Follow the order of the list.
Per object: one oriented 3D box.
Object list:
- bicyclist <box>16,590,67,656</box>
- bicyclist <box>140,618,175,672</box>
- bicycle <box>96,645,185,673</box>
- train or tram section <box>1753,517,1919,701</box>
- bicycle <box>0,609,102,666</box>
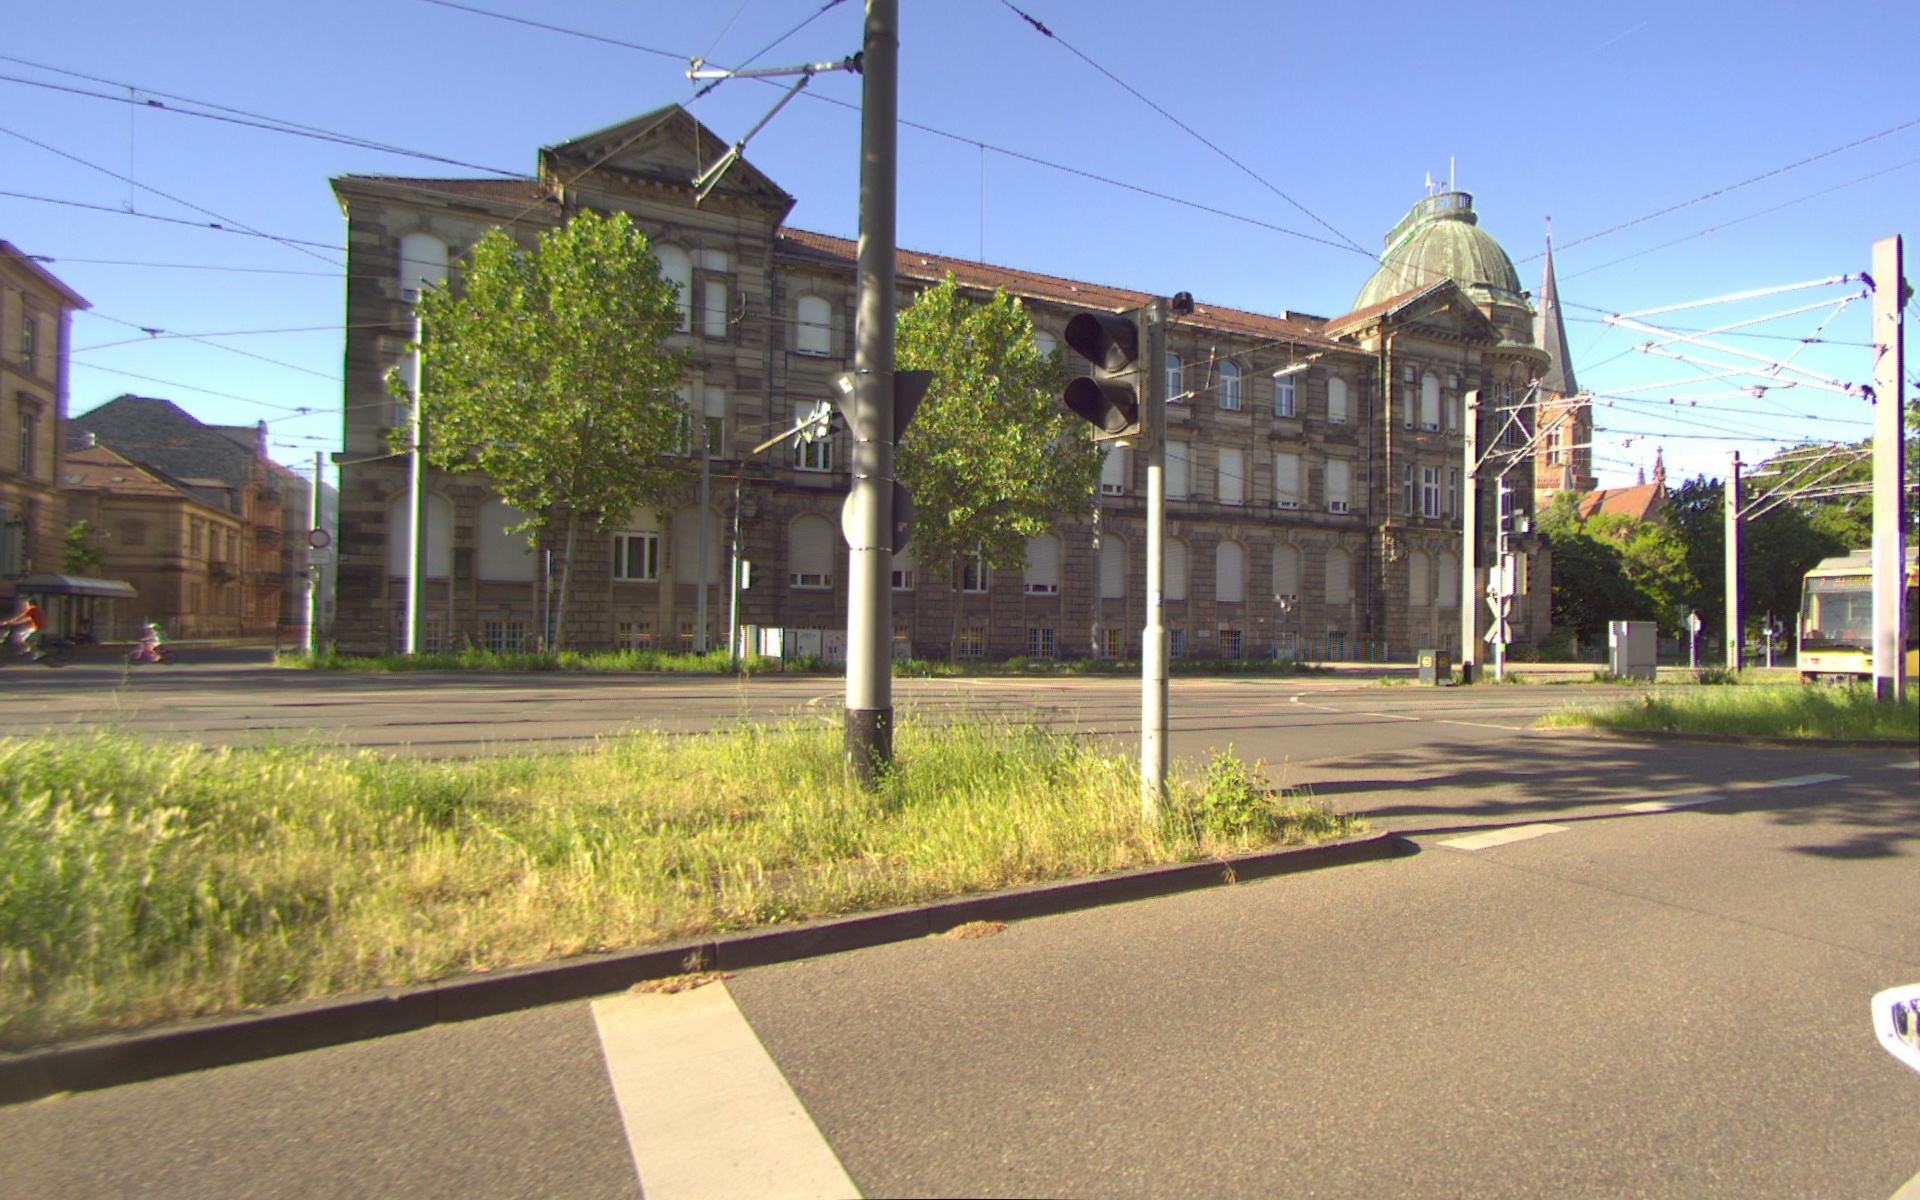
[{"bbox_3d":[-23.508,0.587,25.725,0.863,1.646,0.668,1,0,-38],"label":"bicyclist"},{"bbox_3d":[-22.529,1.253,28.206,0.724,1.481,0.788,2,0,-39],"label":"bicyclist"},{"bbox_3d":[-22.773,1.622,27.931,1.886,0.732,0.520,2,0,-41],"label":"bicycle"},{"bbox_3d":[25.674,0.398,25.603,14.090,3.863,2.918,2,0,-27],"label":"train or tram section"},{"bbox_3d":[-23.566,0.951,25.723,2.327,1.408,0.521,2,0,-35],"label":"bicycle"}]
